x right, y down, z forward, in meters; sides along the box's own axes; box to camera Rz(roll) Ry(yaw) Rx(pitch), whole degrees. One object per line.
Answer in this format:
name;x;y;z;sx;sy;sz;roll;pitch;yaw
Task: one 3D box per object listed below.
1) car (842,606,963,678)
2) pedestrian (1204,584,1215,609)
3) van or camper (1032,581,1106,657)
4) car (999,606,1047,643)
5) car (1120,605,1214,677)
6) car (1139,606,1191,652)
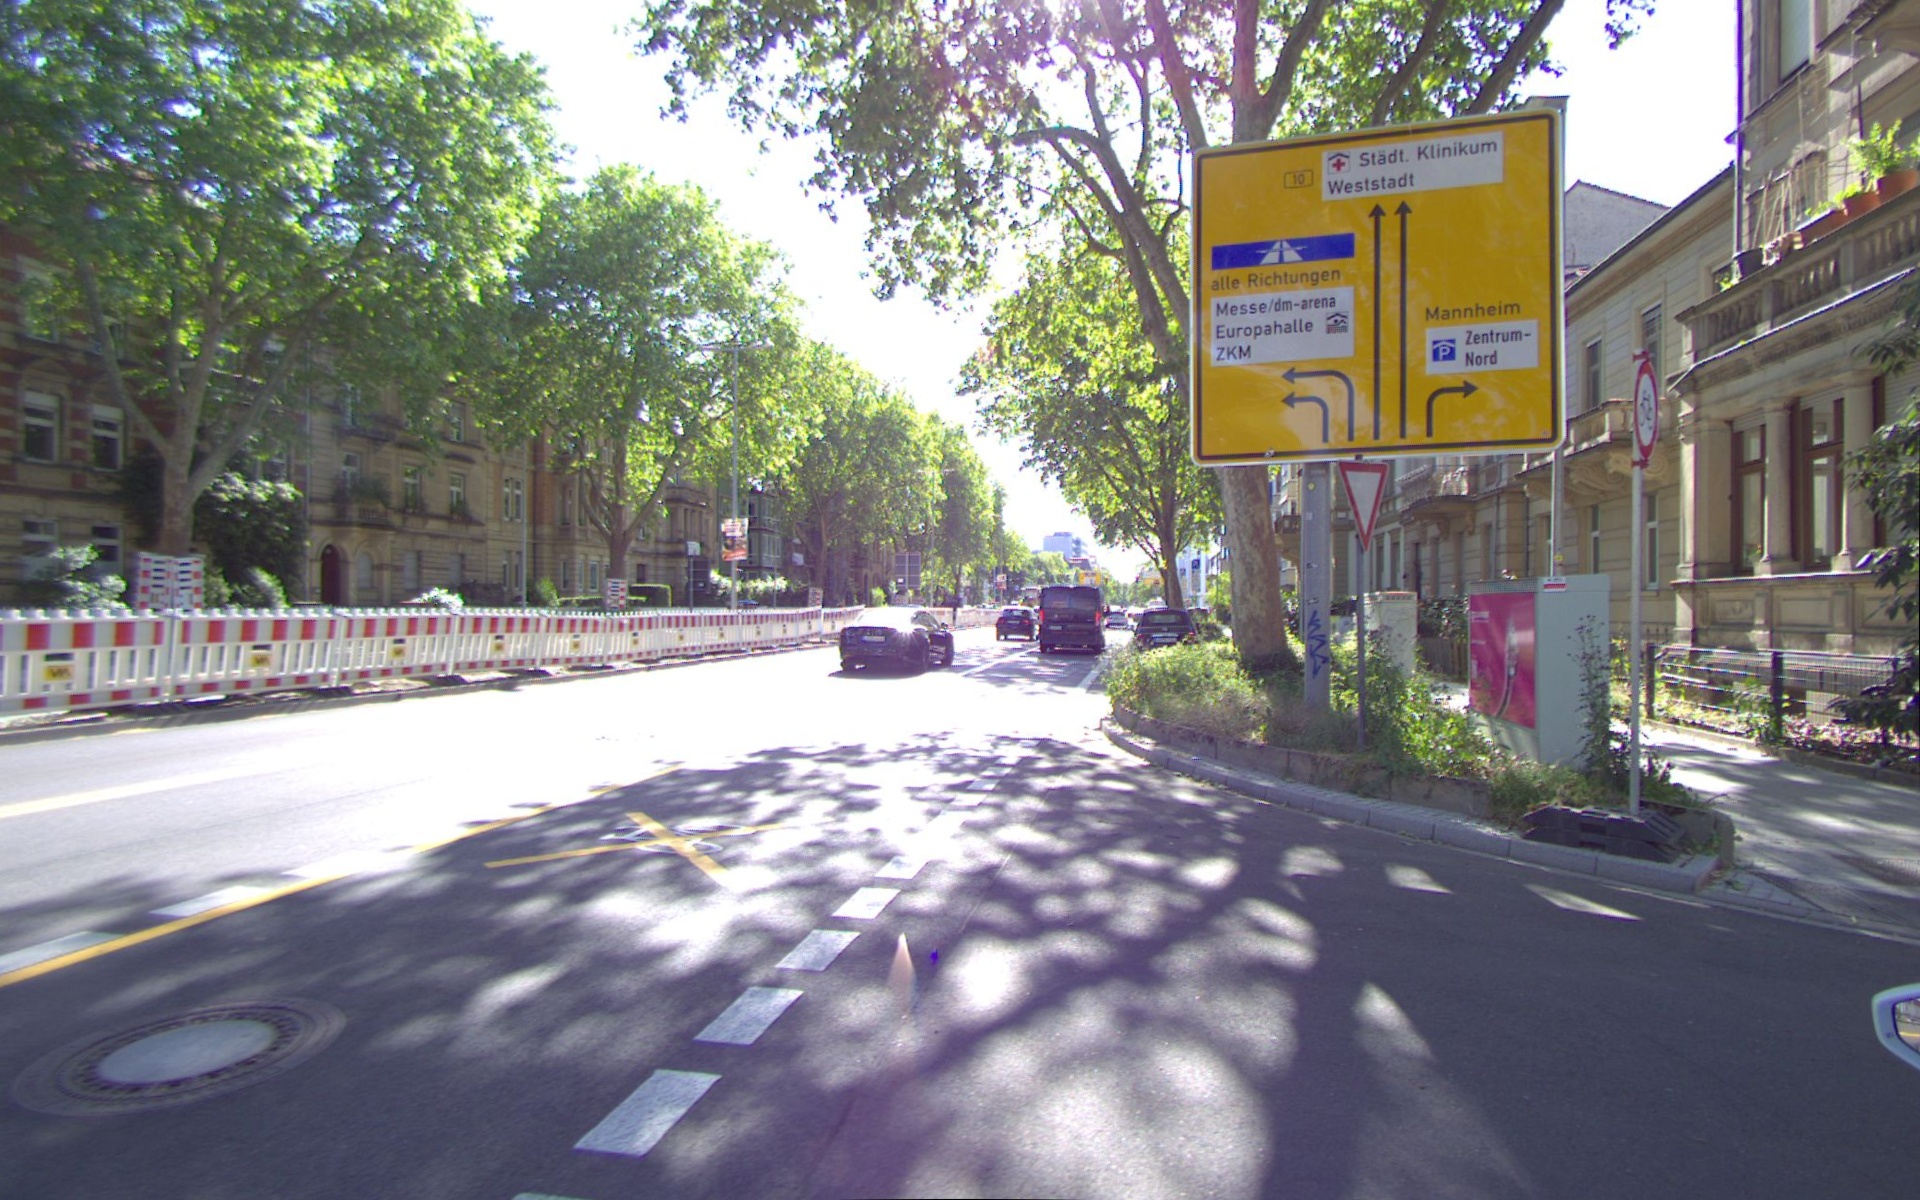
car;-1.241;0.922;23.750;1.806;1.503;4.479;1;0;11
pedestrian;24.182;-0.350;97.317;1.039;2.377;0.817;2;0;14
van or camper;3.797;0.618;34.213;2.207;2.377;4.540;1;0;10
car;2.783;1.025;43.886;1.592;1.505;3.736;1;0;11
car;4.851;0.925;24.011;1.742;1.589;4.002;0;-1;5
car;7.471;1.021;36.436;1.742;1.589;4.002;0;-1;13
